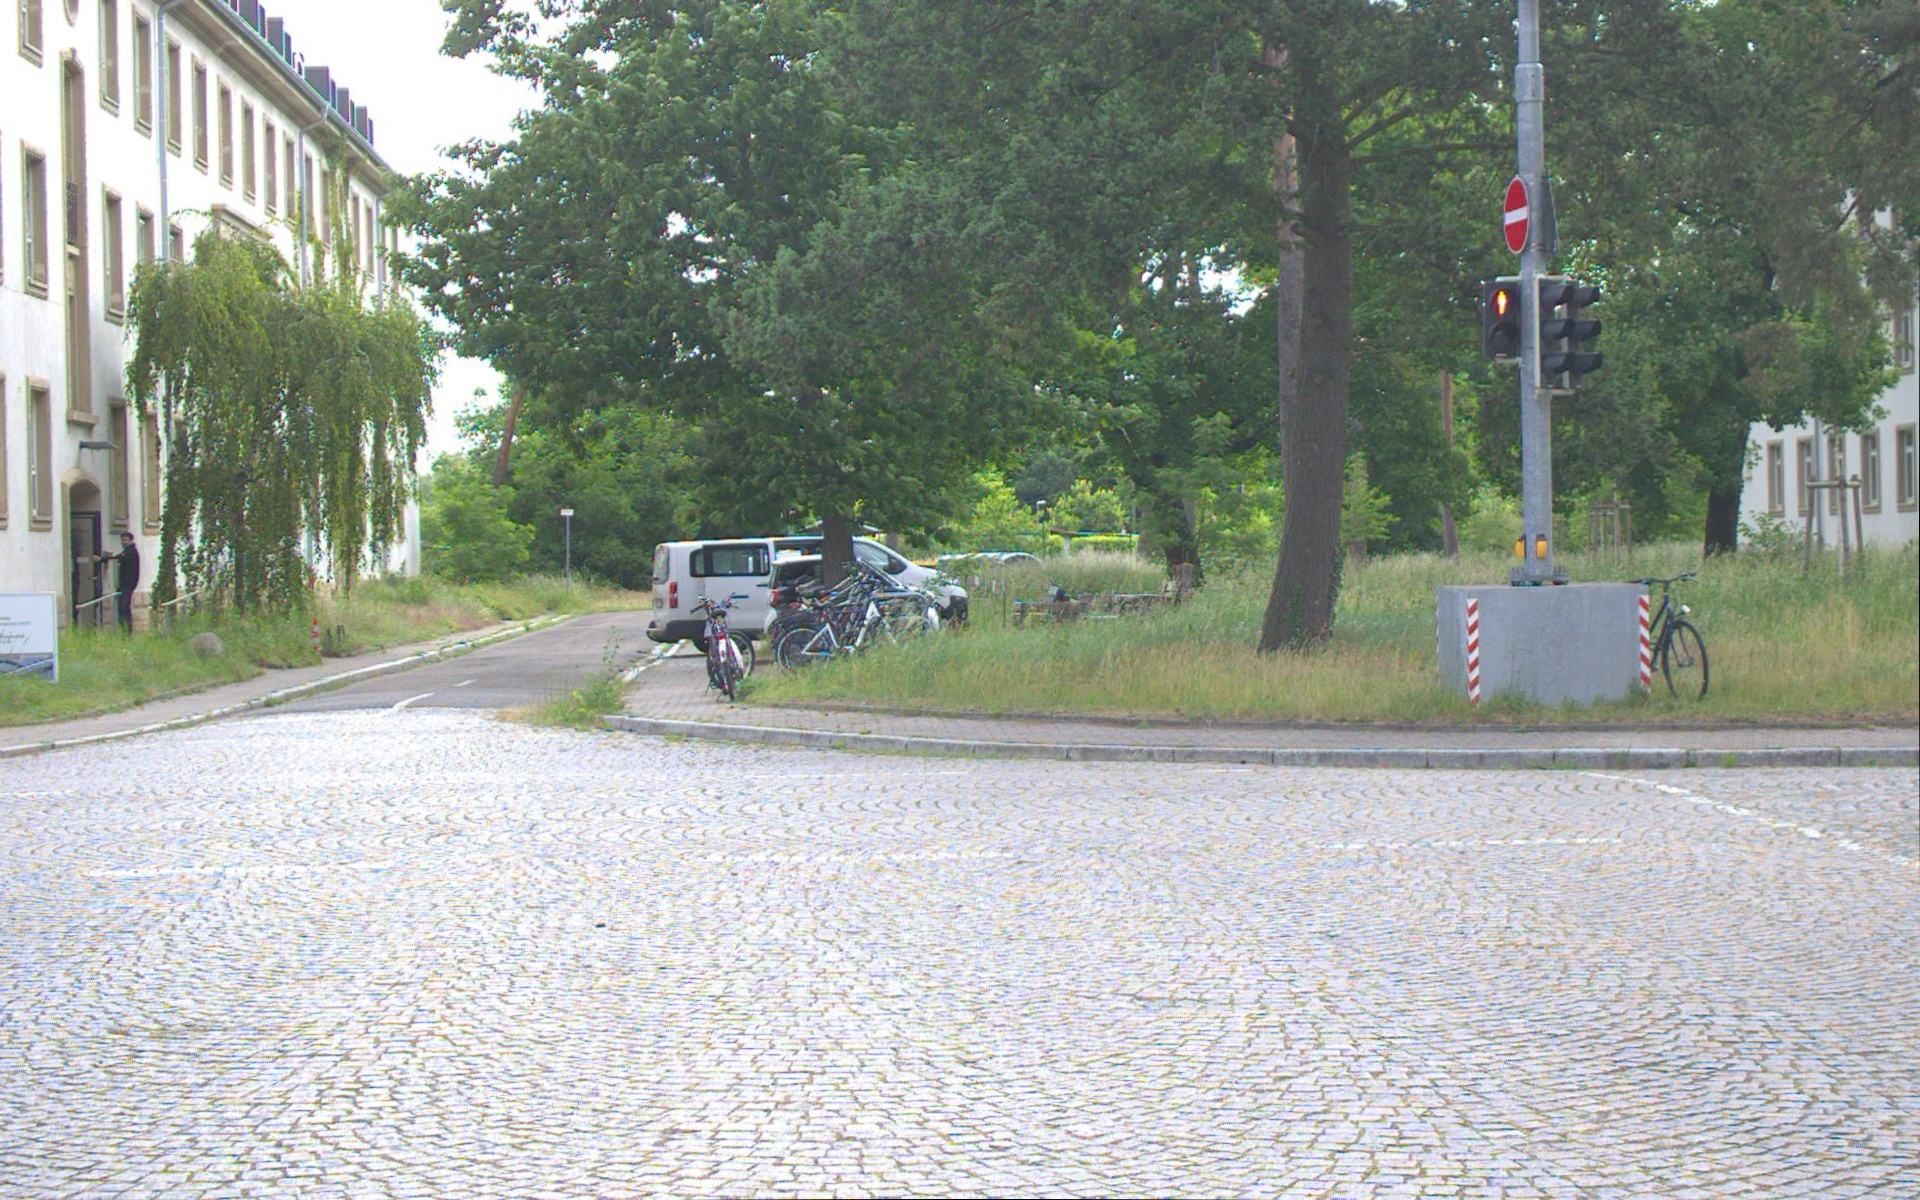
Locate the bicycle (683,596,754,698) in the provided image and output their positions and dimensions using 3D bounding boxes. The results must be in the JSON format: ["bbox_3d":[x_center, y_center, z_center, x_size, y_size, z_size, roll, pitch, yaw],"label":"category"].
[{"bbox_3d":[-2.635,0.501,37.637,0.622,1.079,1.677,0,0,1],"label":"bicycle"}]

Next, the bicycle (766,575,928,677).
[{"bbox_3d":[-1.414,0.319,42.683,1.982,1.243,0.624,0,0,-4],"label":"bicycle"}]

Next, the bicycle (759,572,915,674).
[{"bbox_3d":[-1.634,0.302,45.421,1.982,1.243,0.624,-3,0,-4],"label":"bicycle"}]

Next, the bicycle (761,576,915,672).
[{"bbox_3d":[-1.594,0.306,44.763,1.982,1.243,0.624,0,0,-4],"label":"bicycle"}]

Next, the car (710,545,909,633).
[{"bbox_3d":[-3.122,-0.231,71.053,4.031,1.712,1.681,-1,0,-4],"label":"car"}]

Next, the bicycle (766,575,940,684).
[{"bbox_3d":[-1.245,0.338,39.742,1.982,1.243,0.624,0,0,-4],"label":"bicycle"}]

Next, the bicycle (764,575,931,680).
[{"bbox_3d":[-1.366,0.327,41.525,1.982,1.243,0.624,0,0,-4],"label":"bicycle"}]

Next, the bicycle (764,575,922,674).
[{"bbox_3d":[-1.495,0.312,43.759,1.982,1.243,0.624,0,0,-4],"label":"bicycle"}]

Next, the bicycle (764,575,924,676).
[{"bbox_3d":[-1.457,0.316,43.125,1.982,1.243,0.624,0,0,-4],"label":"bicycle"}]

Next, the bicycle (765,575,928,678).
[{"bbox_3d":[-1.398,0.323,42.157,1.982,1.243,0.624,0,0,-4],"label":"bicycle"}]

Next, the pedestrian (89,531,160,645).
[{"bbox_3d":[-13.253,-0.192,54.563,0.837,1.775,0.941,-1,1,3],"label":"pedestrian"}]

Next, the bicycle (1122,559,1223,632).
[{"bbox_3d":[3.343,-0.068,54.098,1.549,1.121,0.401,-1,0,-1],"label":"bicycle"}]

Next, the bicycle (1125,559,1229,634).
[{"bbox_3d":[3.339,-0.057,52.865,1.549,1.121,0.401,-1,0,-1],"label":"bicycle"}]

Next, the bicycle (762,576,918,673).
[{"bbox_3d":[-1.548,0.309,44.270,1.982,1.243,0.624,0,0,-4],"label":"bicycle"}]

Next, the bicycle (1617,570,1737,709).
[{"bbox_3d":[5.607,0.296,26.949,0.580,0.967,1.678,-3,2,1],"label":"bicycle"}]

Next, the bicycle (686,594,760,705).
[{"bbox_3d":[-2.452,0.498,35.688,0.622,1.110,1.989,0,0,0],"label":"bicycle"}]

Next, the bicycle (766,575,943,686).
[{"bbox_3d":[-1.207,0.342,39.114,1.982,1.243,0.624,0,0,-4],"label":"bicycle"}]

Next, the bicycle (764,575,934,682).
[{"bbox_3d":[-1.314,0.332,40.667,1.982,1.243,0.624,0,0,-4],"label":"bicycle"}]

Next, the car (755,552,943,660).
[{"bbox_3d":[-1.748,0.085,53.730,2.847,1.552,1.472,-2,2,-3],"label":"car"}]

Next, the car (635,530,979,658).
[{"bbox_3d":[-2.559,-0.114,57.175,5.303,1.909,2.150,-2,1,-17],"label":"car"}]
